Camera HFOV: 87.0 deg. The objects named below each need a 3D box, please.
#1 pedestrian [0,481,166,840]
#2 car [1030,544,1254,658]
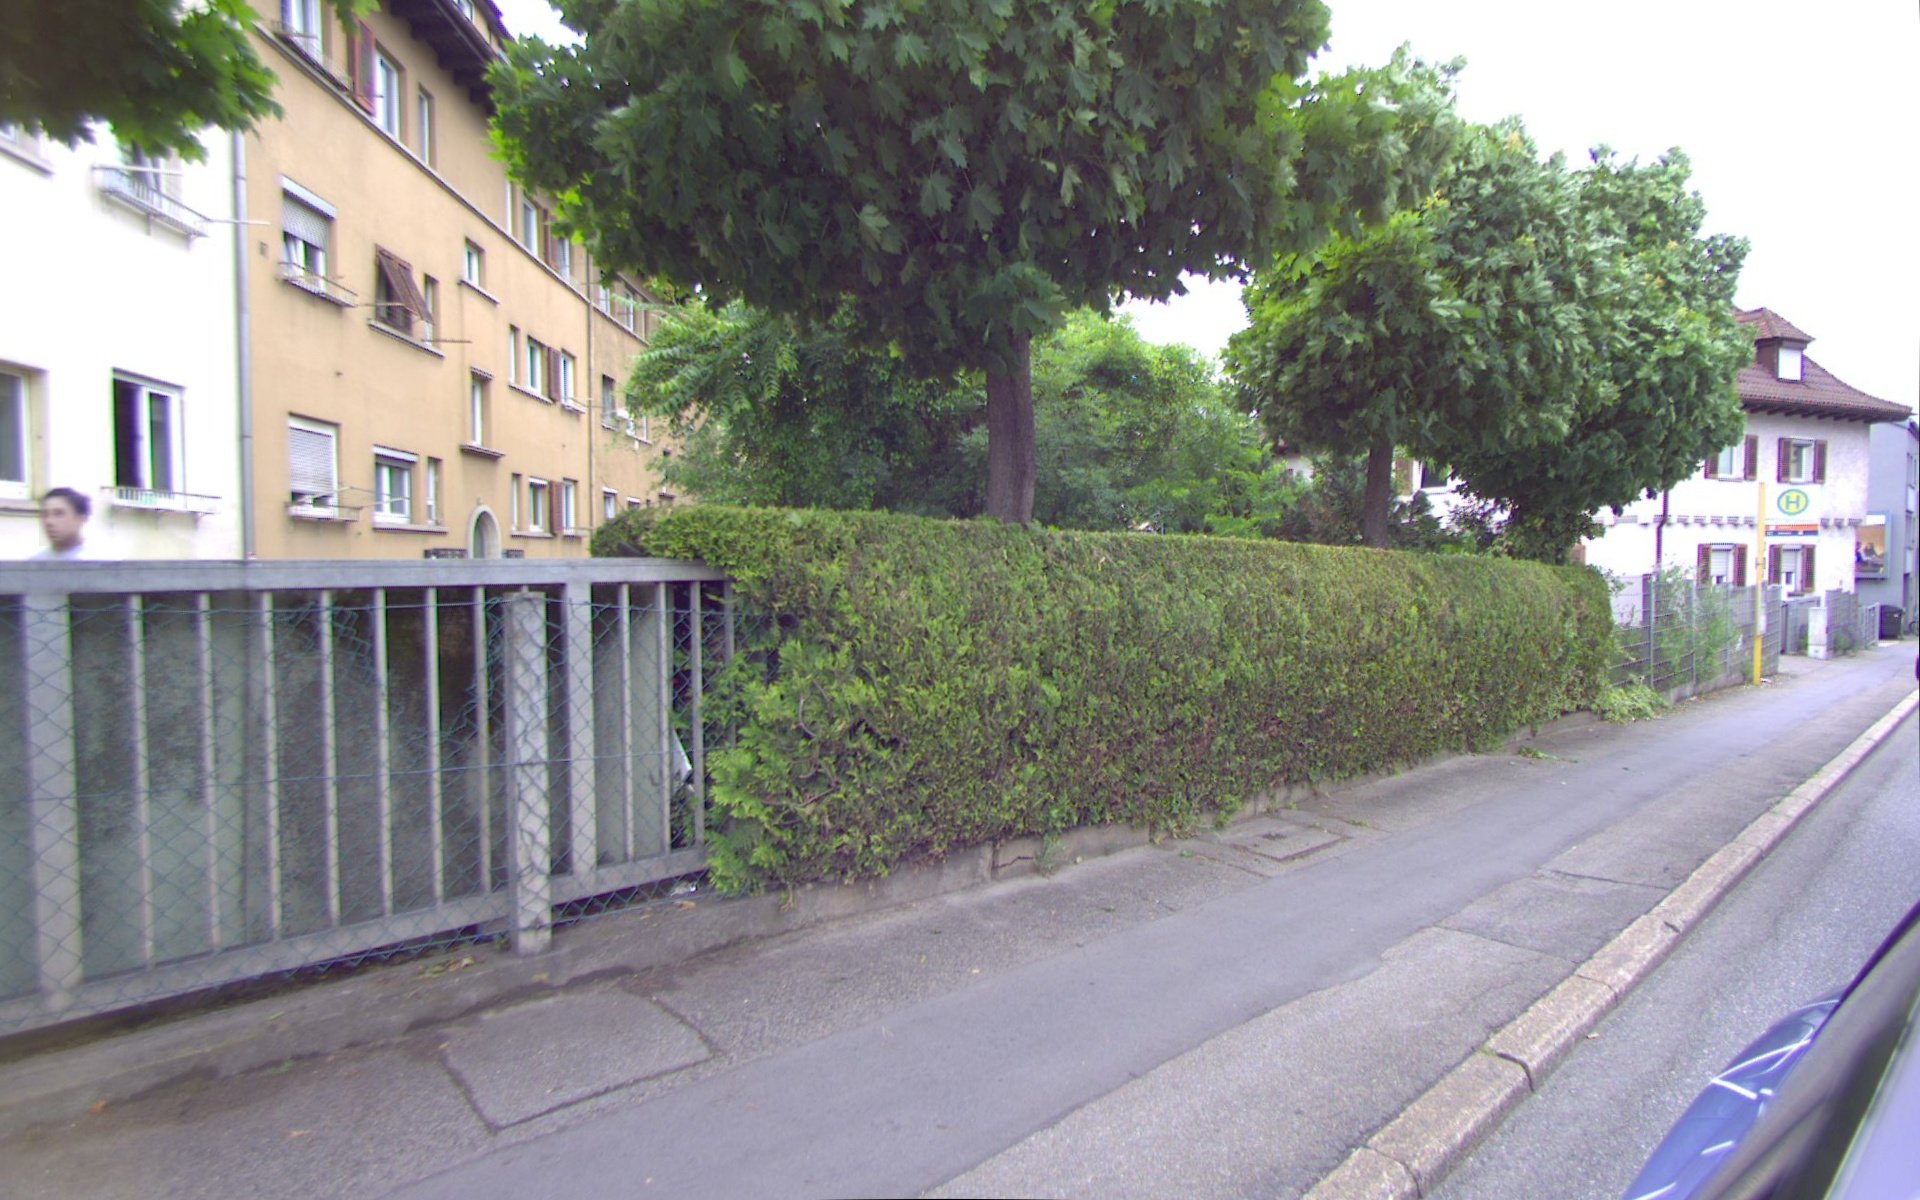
[{"bbox_3d":[-4.639,0.290,5.334,0.684,1.760,0.466,0,0,-42],"label":"pedestrian"},{"bbox_3d":[3.448,-0.006,19.733,3.923,2.039,2.001,1,1,-1],"label":"car"}]
